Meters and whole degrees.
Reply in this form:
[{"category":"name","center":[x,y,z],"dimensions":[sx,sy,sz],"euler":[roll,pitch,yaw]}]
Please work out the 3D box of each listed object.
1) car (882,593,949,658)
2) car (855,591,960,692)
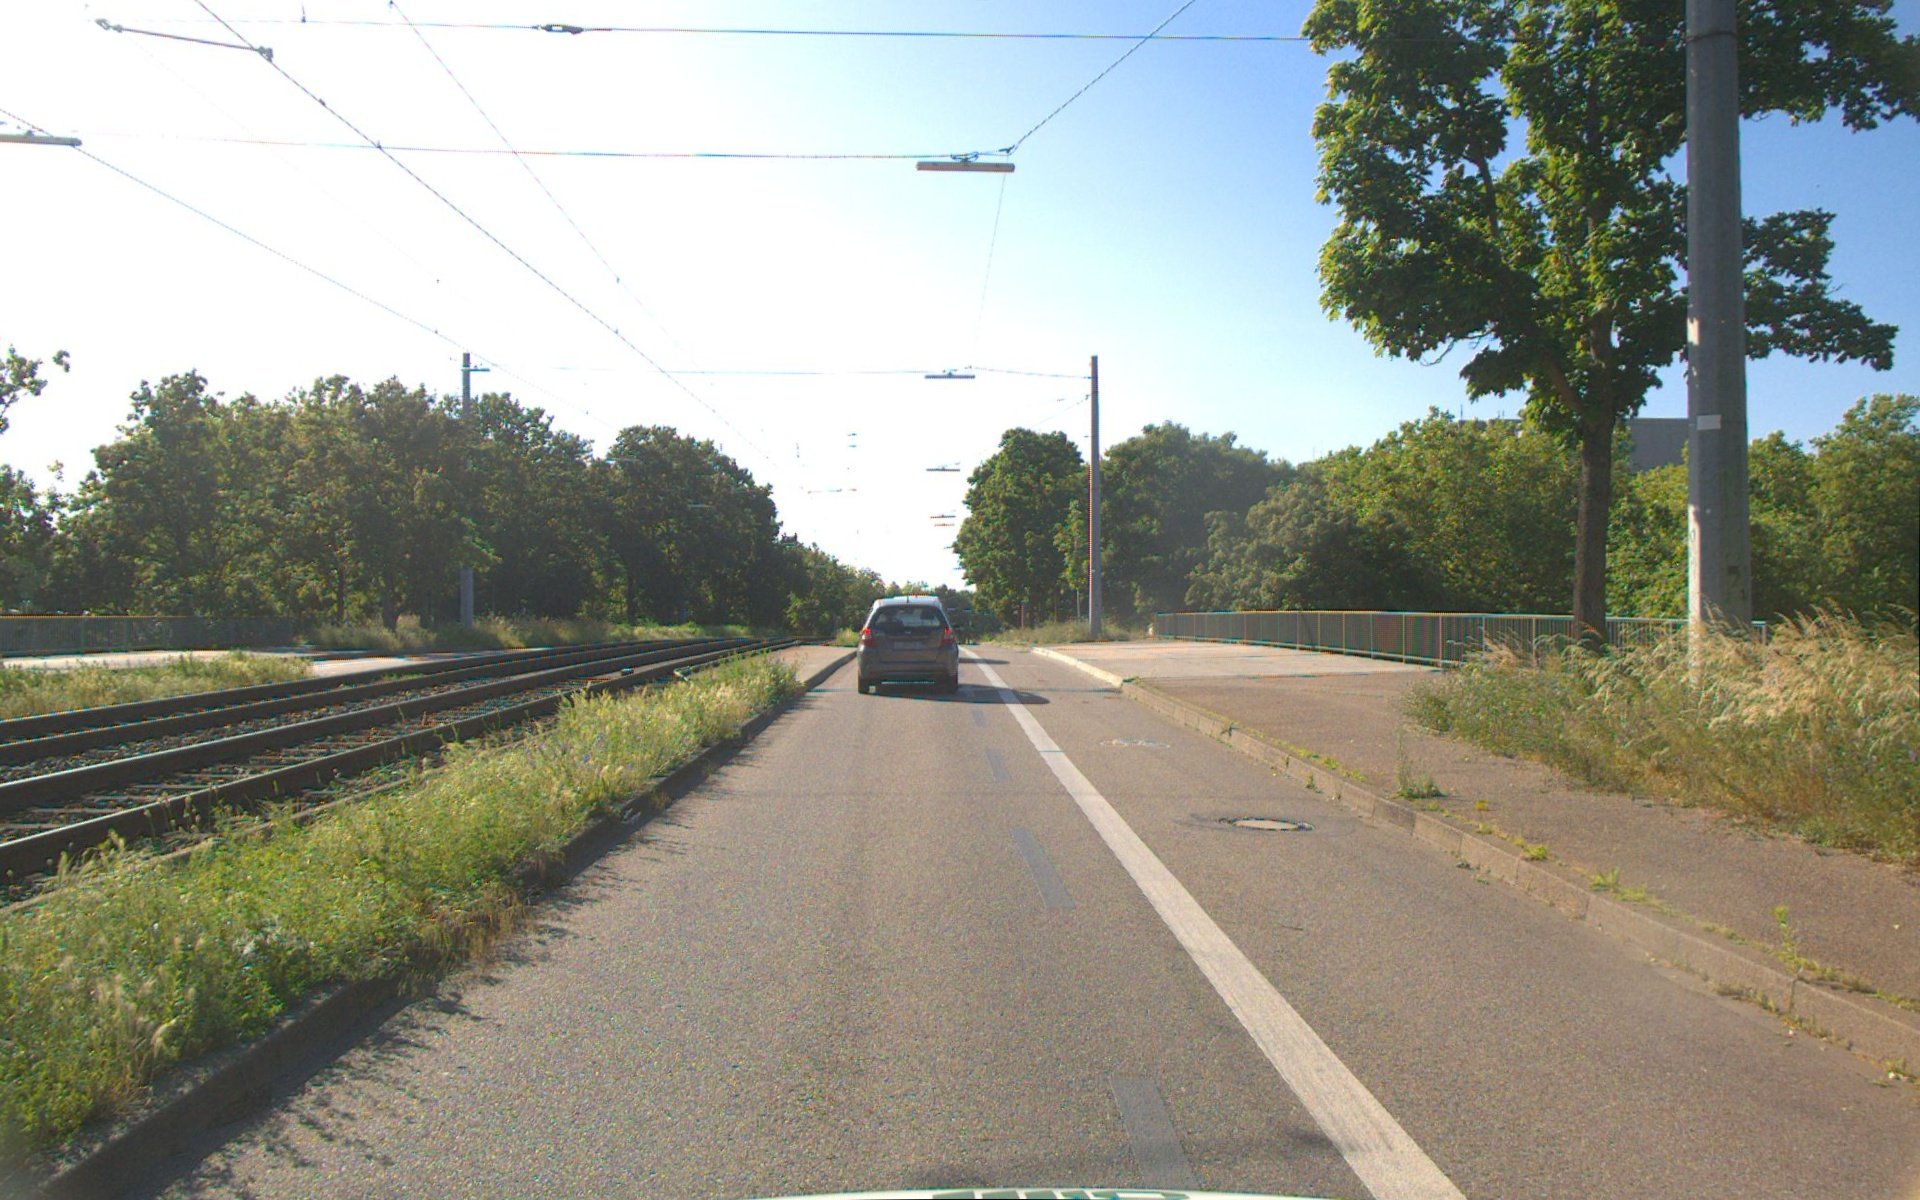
[{"category":"car","center":[-1.107,0.627,42.739],"dimensions":[1.621,1.534,3.811],"euler":[1,1,0]},{"category":"car","center":[-0.886,0.651,28.110],"dimensions":[1.636,1.534,3.810],"euler":[1,1,-2]}]
